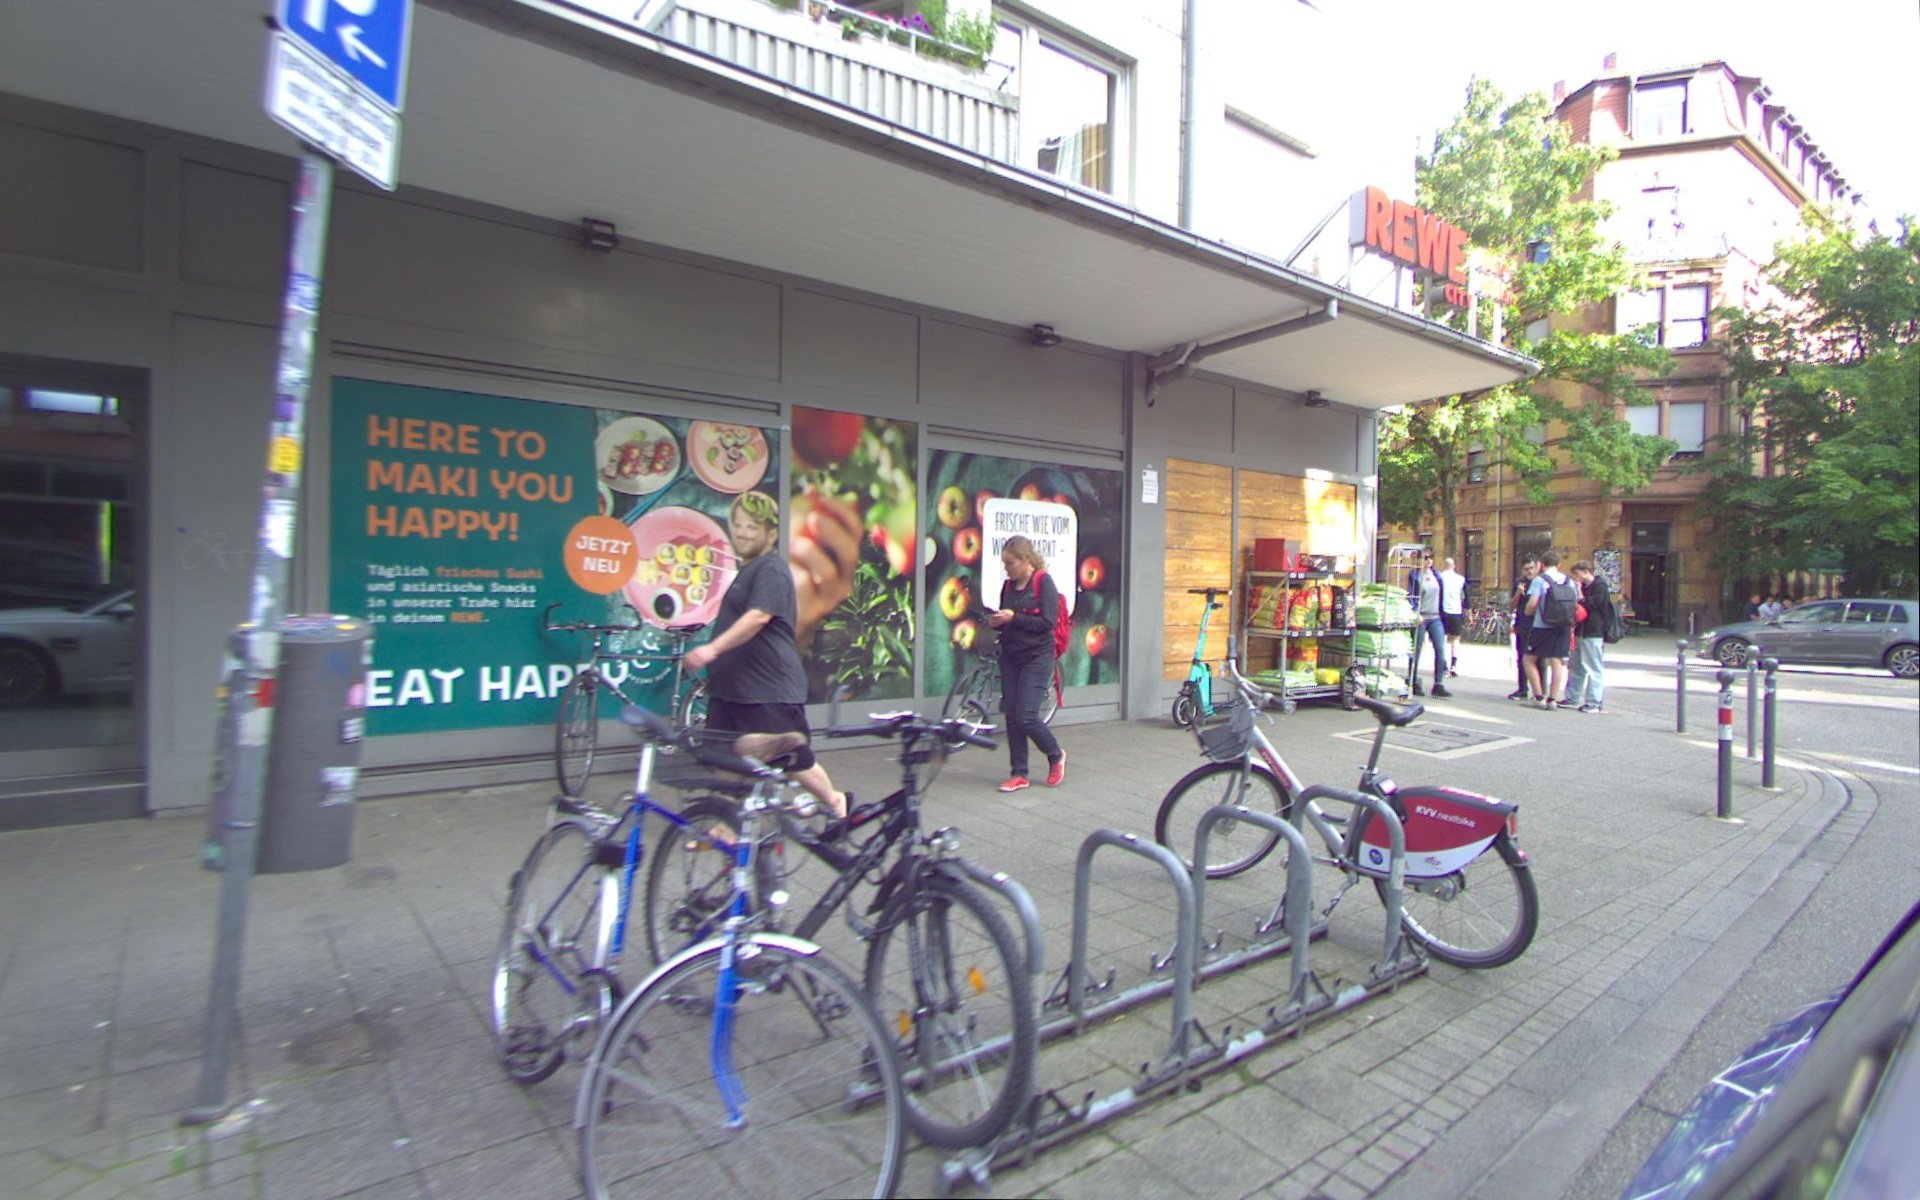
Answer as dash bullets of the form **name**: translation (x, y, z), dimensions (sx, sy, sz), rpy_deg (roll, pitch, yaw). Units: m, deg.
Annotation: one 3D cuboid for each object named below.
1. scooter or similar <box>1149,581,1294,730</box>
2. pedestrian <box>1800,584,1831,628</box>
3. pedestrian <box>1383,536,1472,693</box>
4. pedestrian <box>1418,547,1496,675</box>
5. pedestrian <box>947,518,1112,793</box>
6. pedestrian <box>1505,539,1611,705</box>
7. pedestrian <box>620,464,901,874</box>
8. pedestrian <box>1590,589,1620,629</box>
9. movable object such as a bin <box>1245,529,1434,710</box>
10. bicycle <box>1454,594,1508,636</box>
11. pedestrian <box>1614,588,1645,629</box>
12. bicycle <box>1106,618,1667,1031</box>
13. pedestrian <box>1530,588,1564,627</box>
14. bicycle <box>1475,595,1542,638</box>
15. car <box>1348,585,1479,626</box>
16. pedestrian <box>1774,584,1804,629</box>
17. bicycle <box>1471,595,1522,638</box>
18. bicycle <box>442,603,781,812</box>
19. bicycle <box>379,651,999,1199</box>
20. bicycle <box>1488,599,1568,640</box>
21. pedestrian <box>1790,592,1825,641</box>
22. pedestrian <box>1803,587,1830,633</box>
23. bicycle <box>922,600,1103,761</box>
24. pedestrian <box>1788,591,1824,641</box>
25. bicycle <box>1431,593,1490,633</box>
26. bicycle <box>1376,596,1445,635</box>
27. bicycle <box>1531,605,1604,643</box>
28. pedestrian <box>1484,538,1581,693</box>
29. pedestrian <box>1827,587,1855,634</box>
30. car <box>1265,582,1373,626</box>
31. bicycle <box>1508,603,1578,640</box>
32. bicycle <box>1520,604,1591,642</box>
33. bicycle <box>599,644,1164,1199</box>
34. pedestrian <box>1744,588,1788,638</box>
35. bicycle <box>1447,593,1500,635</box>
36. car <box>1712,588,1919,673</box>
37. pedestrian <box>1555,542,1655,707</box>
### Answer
- **scooter or similar**: translation (2.376, 0.465, 9.150), dimensions (1.234, 1.227, 0.633), rpy_deg (1, 3, -41)
- **pedestrian**: translation (25.258, 0.170, 29.895), dimensions (0.543, 1.247, 0.616), rpy_deg (1, 1, 28)
- **pedestrian**: translation (5.577, 0.155, 12.060), dimensions (0.761, 1.775, 0.918), rpy_deg (1, 0, 38)
- **pedestrian**: translation (7.579, 0.135, 15.483), dimensions (0.876, 1.857, 1.040), rpy_deg (3, 2, 21)
- **pedestrian**: translation (0.446, 0.314, 6.565), dimensions (0.699, 1.652, 0.724), rpy_deg (1, 2, -40)
- **pedestrian**: translation (6.828, 0.231, 11.583), dimensions (0.620, 1.819, 0.716), rpy_deg (3, 2, -5)
- **pedestrian**: translation (-0.990, 0.280, 5.009), dimensions (1.030, 1.768, 0.851), rpy_deg (1, 3, -40)
- **pedestrian**: translation (20.850, 0.289, 32.707), dimensions (0.628, 1.239, 0.513), rpy_deg (-1, 2, -5)
- **movable object such as a bin**: translation (4.120, 0.179, 10.886), dimensions (2.379, 1.766, 0.781), rpy_deg (0, 1, -39)
- **bicycle**: translation (15.712, 0.437, 30.522), dimensions (1.677, 1.216, 0.449), rpy_deg (-1, 2, -21)
- **pedestrian**: translation (21.628, 0.276, 32.697), dimensions (0.628, 1.274, 0.513), rpy_deg (-1, 2, -5)
- **bicycle**: translation (1.625, 0.720, 4.160), dimensions (0.891, 1.139, 1.887), rpy_deg (1, 3, -40)
- **pedestrian**: translation (19.994, 0.237, 34.457), dimensions (0.753, 1.301, 0.630), rpy_deg (-1, 0, -15)
- **bicycle**: translation (15.868, 0.475, 29.271), dimensions (1.680, 1.216, 0.448), rpy_deg (-1, 1, 0)
- **car**: translation (15.769, 0.177, 35.212), dimensions (4.026, 1.286, 1.571), rpy_deg (-2, 0, -15)
- **pedestrian**: translation (24.821, 0.174, 30.304), dimensions (0.543, 1.317, 0.616), rpy_deg (1, 1, 28)
- **bicycle**: translation (15.902, 0.473, 29.996), dimensions (1.677, 1.216, 0.449), rpy_deg (-2, 2, -27)
- **bicycle**: translation (-2.043, 0.559, 6.045), dimensions (1.751, 1.027, 0.743), rpy_deg (0, 3, -39)
- **bicycle**: translation (-0.789, 0.754, 2.488), dimensions (1.788, 1.084, 0.577), rpy_deg (4, 2, 43)
- **bicycle**: translation (16.093, 0.544, 28.693), dimensions (2.006, 1.102, 0.448), rpy_deg (-1, 1, 0)
- **pedestrian**: translation (23.421, 0.440, 27.964), dimensions (0.726, 1.332, 0.513), rpy_deg (-1, -1, 40)
- **pedestrian**: translation (25.756, 0.298, 30.448), dimensions (0.462, 1.343, 0.616), rpy_deg (1, 1, 28)
- **bicycle**: translation (0.457, 0.562, 7.935), dimensions (0.673, 1.056, 1.714), rpy_deg (1, 2, 32)
- **pedestrian**: translation (23.066, 0.436, 27.598), dimensions (0.726, 1.332, 0.513), rpy_deg (-1, -1, 40)
- **bicycle**: translation (15.601, 0.402, 31.547), dimensions (1.677, 1.216, 0.449), rpy_deg (-1, 1, -9)
- **bicycle**: translation (14.226, 0.465, 32.032), dimensions (0.570, 1.109, 2.505), rpy_deg (-3, 2, -12)
- **bicycle**: translation (16.410, 0.648, 27.357), dimensions (1.680, 0.981, 0.448), rpy_deg (-1, 1, 0)
- **pedestrian**: translation (6.970, 0.176, 12.331), dimensions (0.645, 1.819, 0.657), rpy_deg (2, 2, -25)
- **pedestrian**: translation (25.904, 0.294, 29.747), dimensions (0.462, 1.343, 0.616), rpy_deg (1, 1, 28)
- **car**: translation (14.373, 0.169, 40.610), dimensions (3.630, 1.743, 1.864), rpy_deg (0, -1, -12)
- **bicycle**: translation (16.260, 0.604, 28.244), dimensions (1.680, 0.999, 0.448), rpy_deg (-1, 1, 0)
- **bicycle**: translation (16.348, 0.624, 27.810), dimensions (1.680, 0.999, 0.448), rpy_deg (-1, 1, 0)
- **bicycle**: translation (-0.345, 0.753, 2.980), dimensions (1.788, 1.084, 0.560), rpy_deg (4, 2, 43)
- **pedestrian**: translation (22.859, 0.351, 28.715), dimensions (0.656, 1.396, 0.718), rpy_deg (0, 1, -3)
- **bicycle**: translation (15.737, 0.424, 31.016), dimensions (1.677, 1.216, 0.449), rpy_deg (-1, 2, -21)
- **car**: translation (17.003, 0.534, 19.227), dimensions (1.762, 1.456, 4.002), rpy_deg (1, 1, -33)
- **pedestrian**: translation (7.460, 0.263, 11.743), dimensions (0.705, 1.819, 0.629), rpy_deg (4, 2, 17)
